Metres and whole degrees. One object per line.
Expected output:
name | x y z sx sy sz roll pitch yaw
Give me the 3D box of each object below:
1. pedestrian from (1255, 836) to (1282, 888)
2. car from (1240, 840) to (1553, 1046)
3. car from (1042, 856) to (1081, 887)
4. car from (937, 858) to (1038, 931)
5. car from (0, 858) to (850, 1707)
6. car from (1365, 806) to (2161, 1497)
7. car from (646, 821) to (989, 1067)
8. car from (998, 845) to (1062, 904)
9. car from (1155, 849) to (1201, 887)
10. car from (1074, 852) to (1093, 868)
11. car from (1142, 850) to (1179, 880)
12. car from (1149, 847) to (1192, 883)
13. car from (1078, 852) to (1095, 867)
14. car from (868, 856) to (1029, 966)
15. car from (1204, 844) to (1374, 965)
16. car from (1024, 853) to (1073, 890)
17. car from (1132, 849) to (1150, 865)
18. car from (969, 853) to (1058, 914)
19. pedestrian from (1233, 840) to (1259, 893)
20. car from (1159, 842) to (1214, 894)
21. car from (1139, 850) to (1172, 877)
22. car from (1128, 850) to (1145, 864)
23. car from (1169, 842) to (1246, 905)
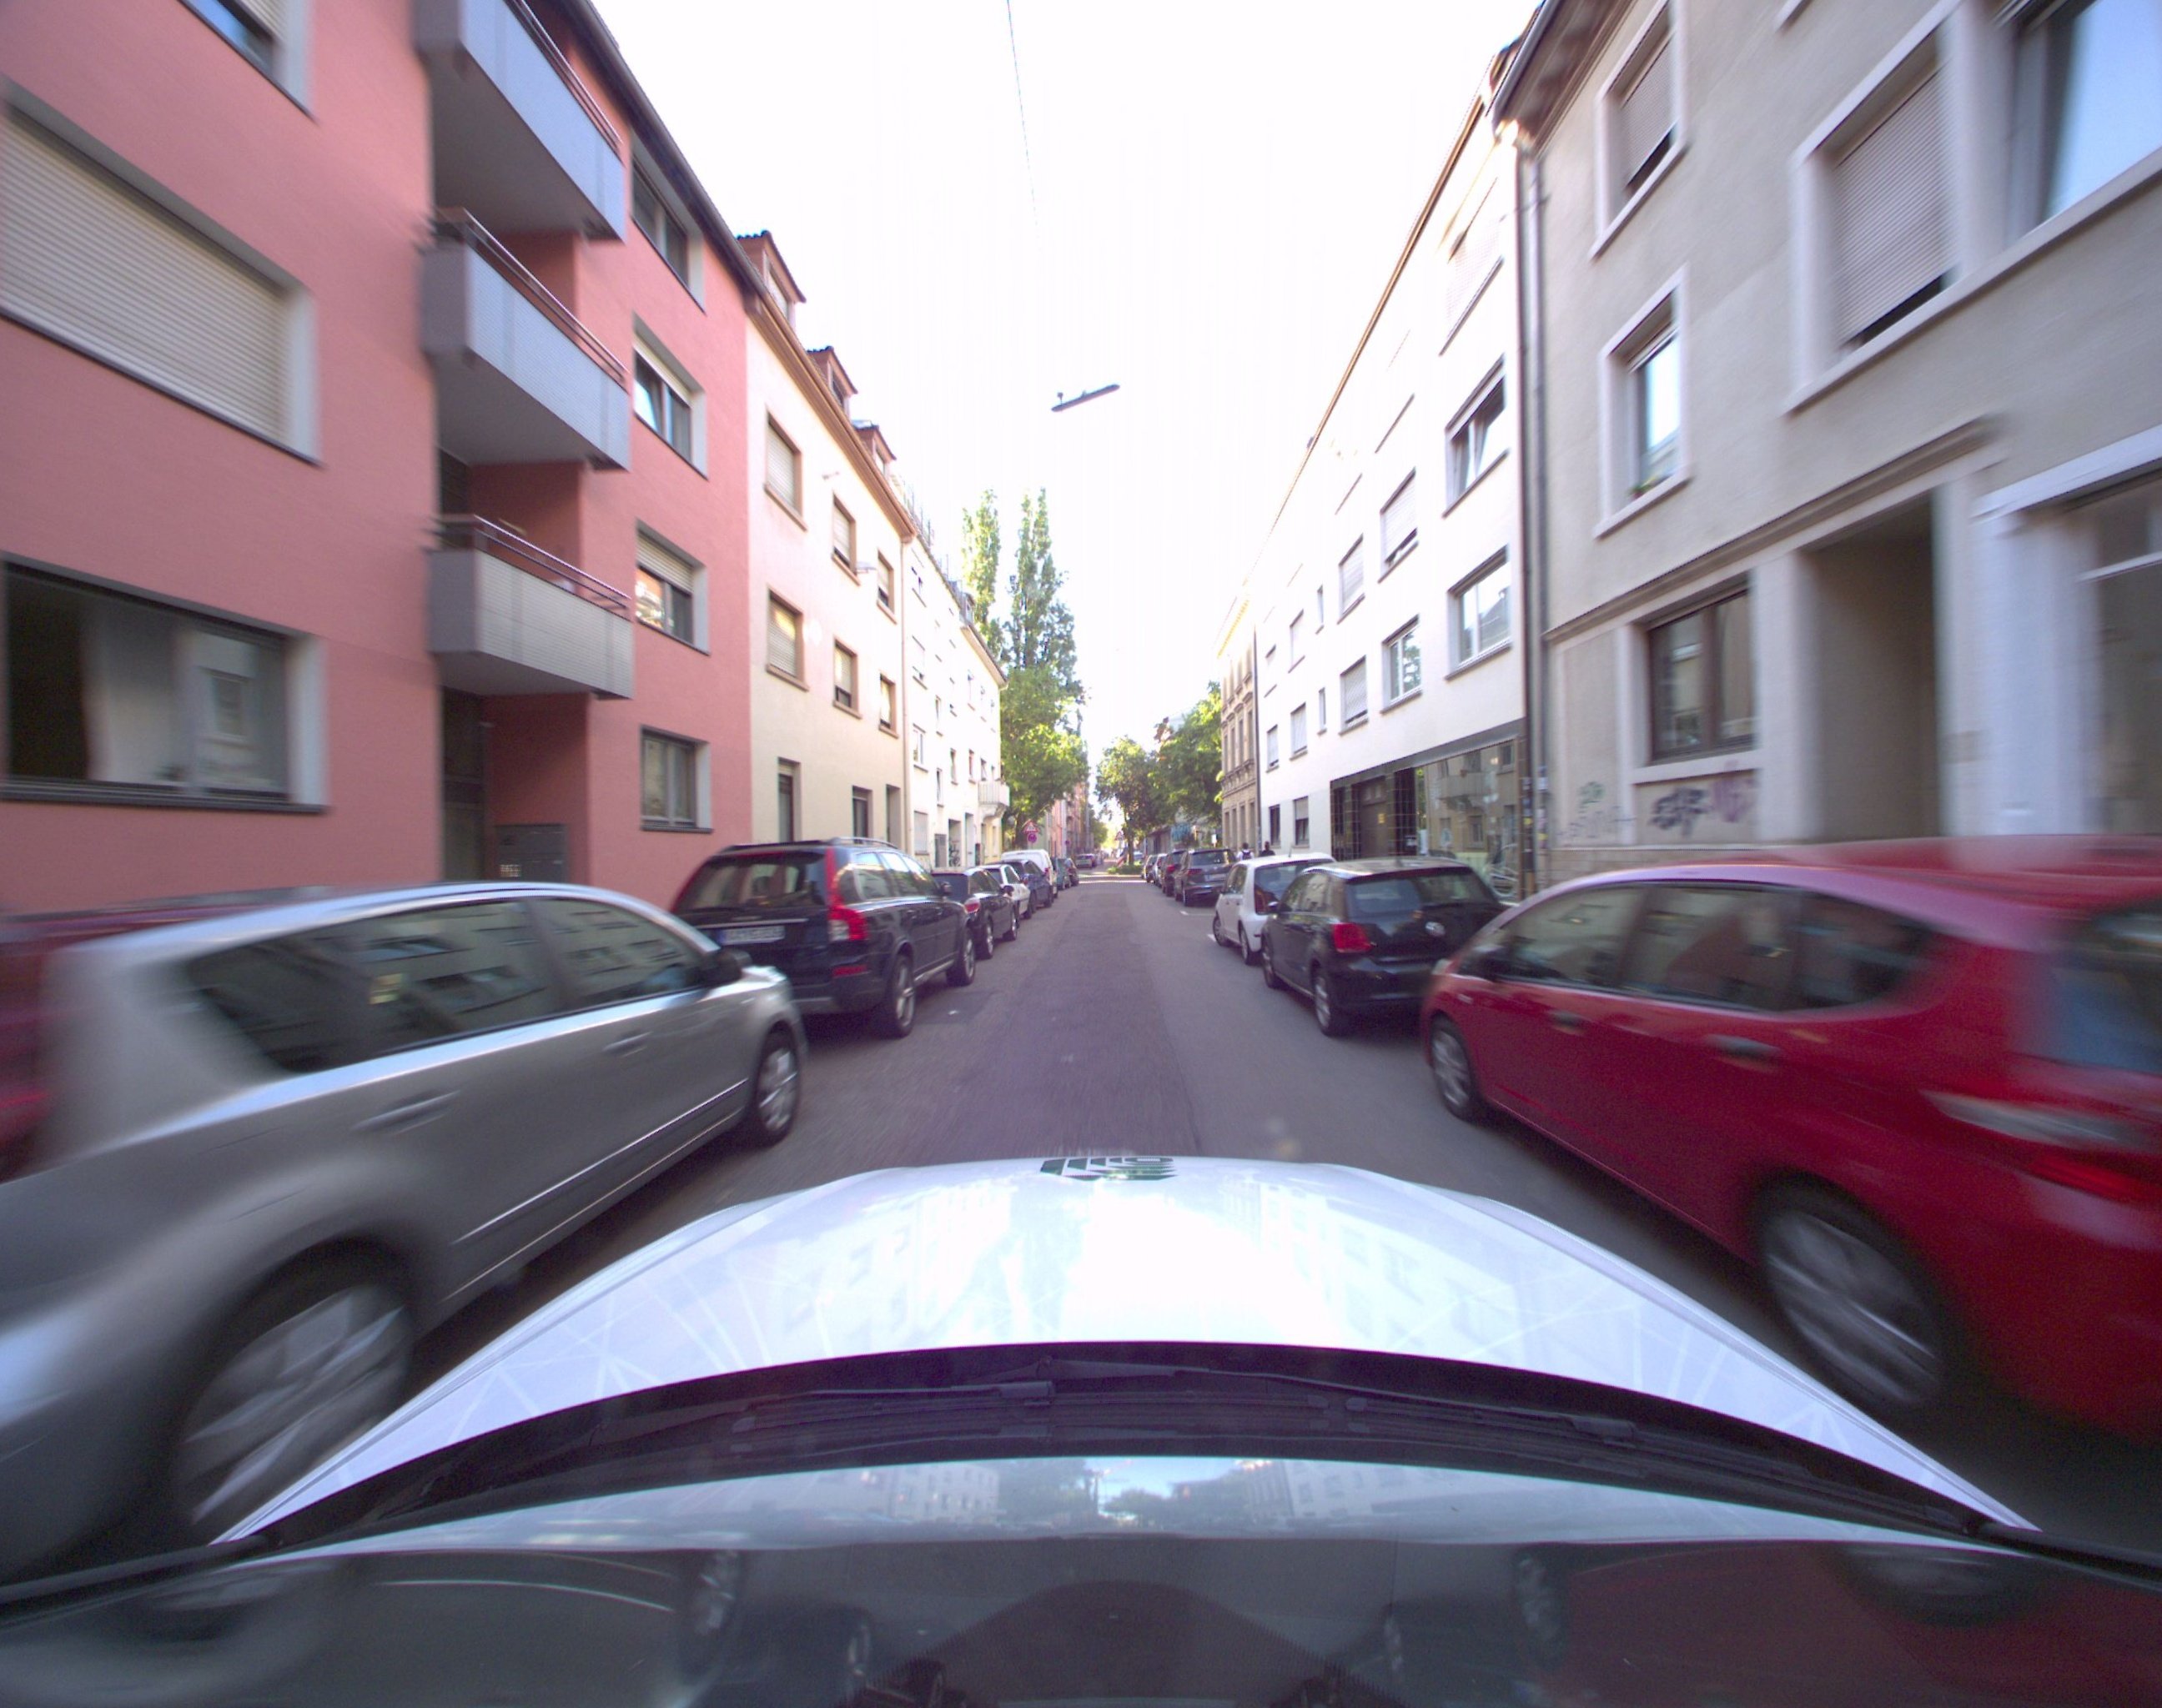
pedestrian | 6.176 0.259 26.850 0.683 1.660 0.718 -2 0 2
car | 2.824 0.679 8.264 1.670 1.506 3.939 -3 0 1
car | -0.956 0.824 41.032 1.664 1.361 4.051 -3 0 2
car | -2.064 0.847 19.058 1.667 1.388 4.184 -3 0 2
car | -2.501 0.849 3.366 1.649 1.521 3.948 -3 0 4
car | 2.874 0.630 3.905 1.592 1.506 4.186 -3 0 1
car | -2.302 0.680 8.603 1.736 1.811 4.677 -3 0 4
car | -1.671 0.655 28.133 1.759 1.785 4.040 -3 0 1
car | 4.144 0.548 35.257 1.560 1.483 3.620 -3 0 1
car | 0.286 0.553 82.057 1.670 1.487 4.096 -3 0 1
car | 4.273 0.554 44.378 1.670 1.487 4.096 -3 0 1
car | 4.283 0.510 39.469 1.670 1.561 3.797 -3 0 1
car | 0.578 0.554 87.475 1.670 1.487 4.096 -3 0 1
car | -2.105 0.849 14.189 1.736 1.506 4.351 -3 0 4
car | 3.043 0.653 12.724 1.670 1.506 3.939 -3 0 1
car | -1.419 0.746 36.859 1.662 1.469 3.826 -3 0 5
car | 6.109 0.315 83.282 1.670 1.487 3.639 -3 0 1
car | -1.851 0.787 23.449 1.664 1.486 4.000 -3 0 7
pedestrian | 5.372 0.403 26.555 0.683 1.660 0.718 -2 0 2
car | 3.830 0.505 30.152 1.669 1.681 4.098 -3 -1 3
car | 4.494 0.528 49.378 1.670 1.487 4.096 -3 0 1
car | 6.139 0.305 89.787 1.670 1.487 3.639 -3 0 1
car | 3.791 0.542 25.005 1.670 1.627 4.252 -5 0 1
